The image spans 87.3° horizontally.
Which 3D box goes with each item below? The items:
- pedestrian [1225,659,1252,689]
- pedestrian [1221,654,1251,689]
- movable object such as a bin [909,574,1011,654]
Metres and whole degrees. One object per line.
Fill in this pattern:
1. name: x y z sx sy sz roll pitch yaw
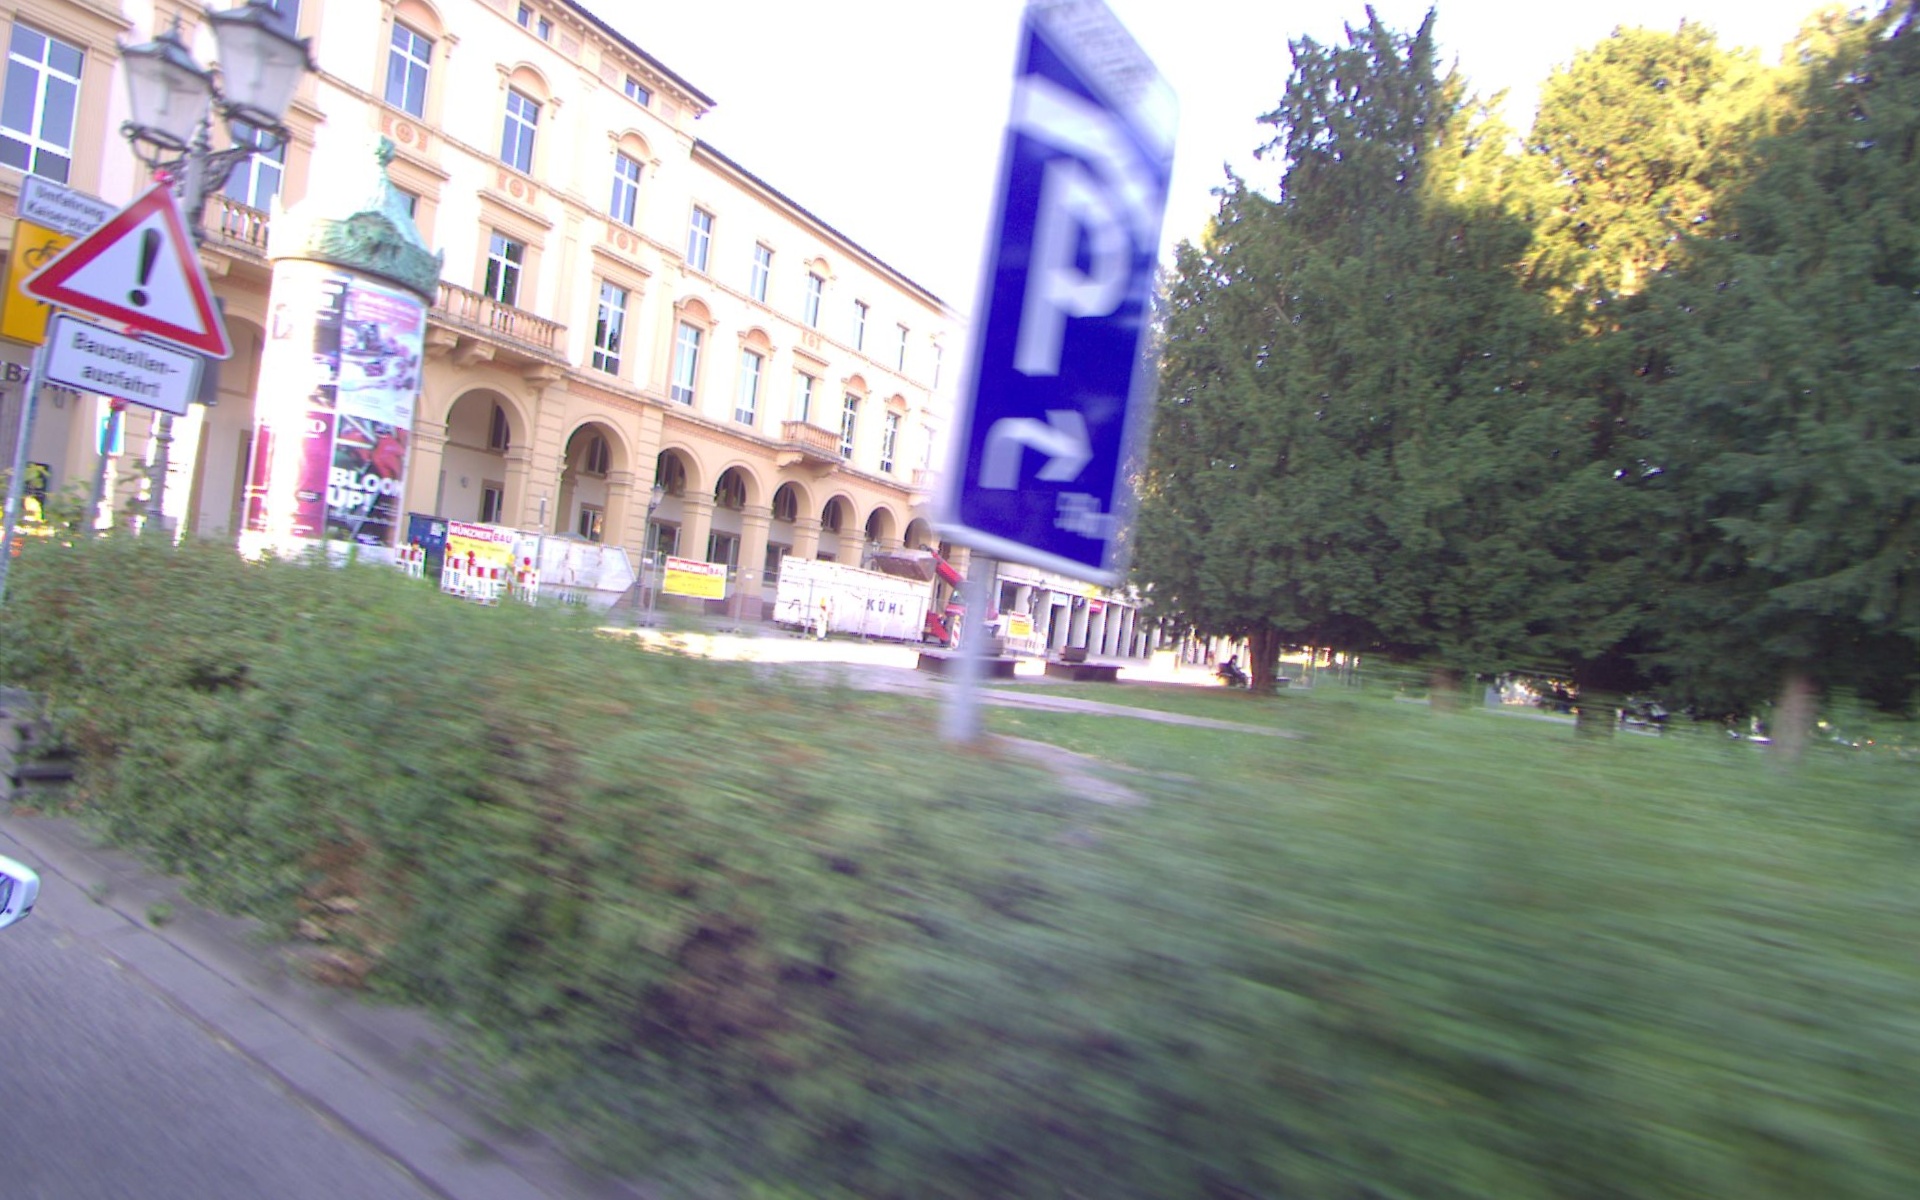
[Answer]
1. pedestrian: 11.162 2.959 40.376 0.819 1.105 0.709 7 0 26
2. pedestrian: 10.845 2.813 39.522 0.911 1.267 0.709 7 0 27
3. movable object such as a bin: 0.085 0.688 44.582 1.967 3.044 4.894 7 -1 32
